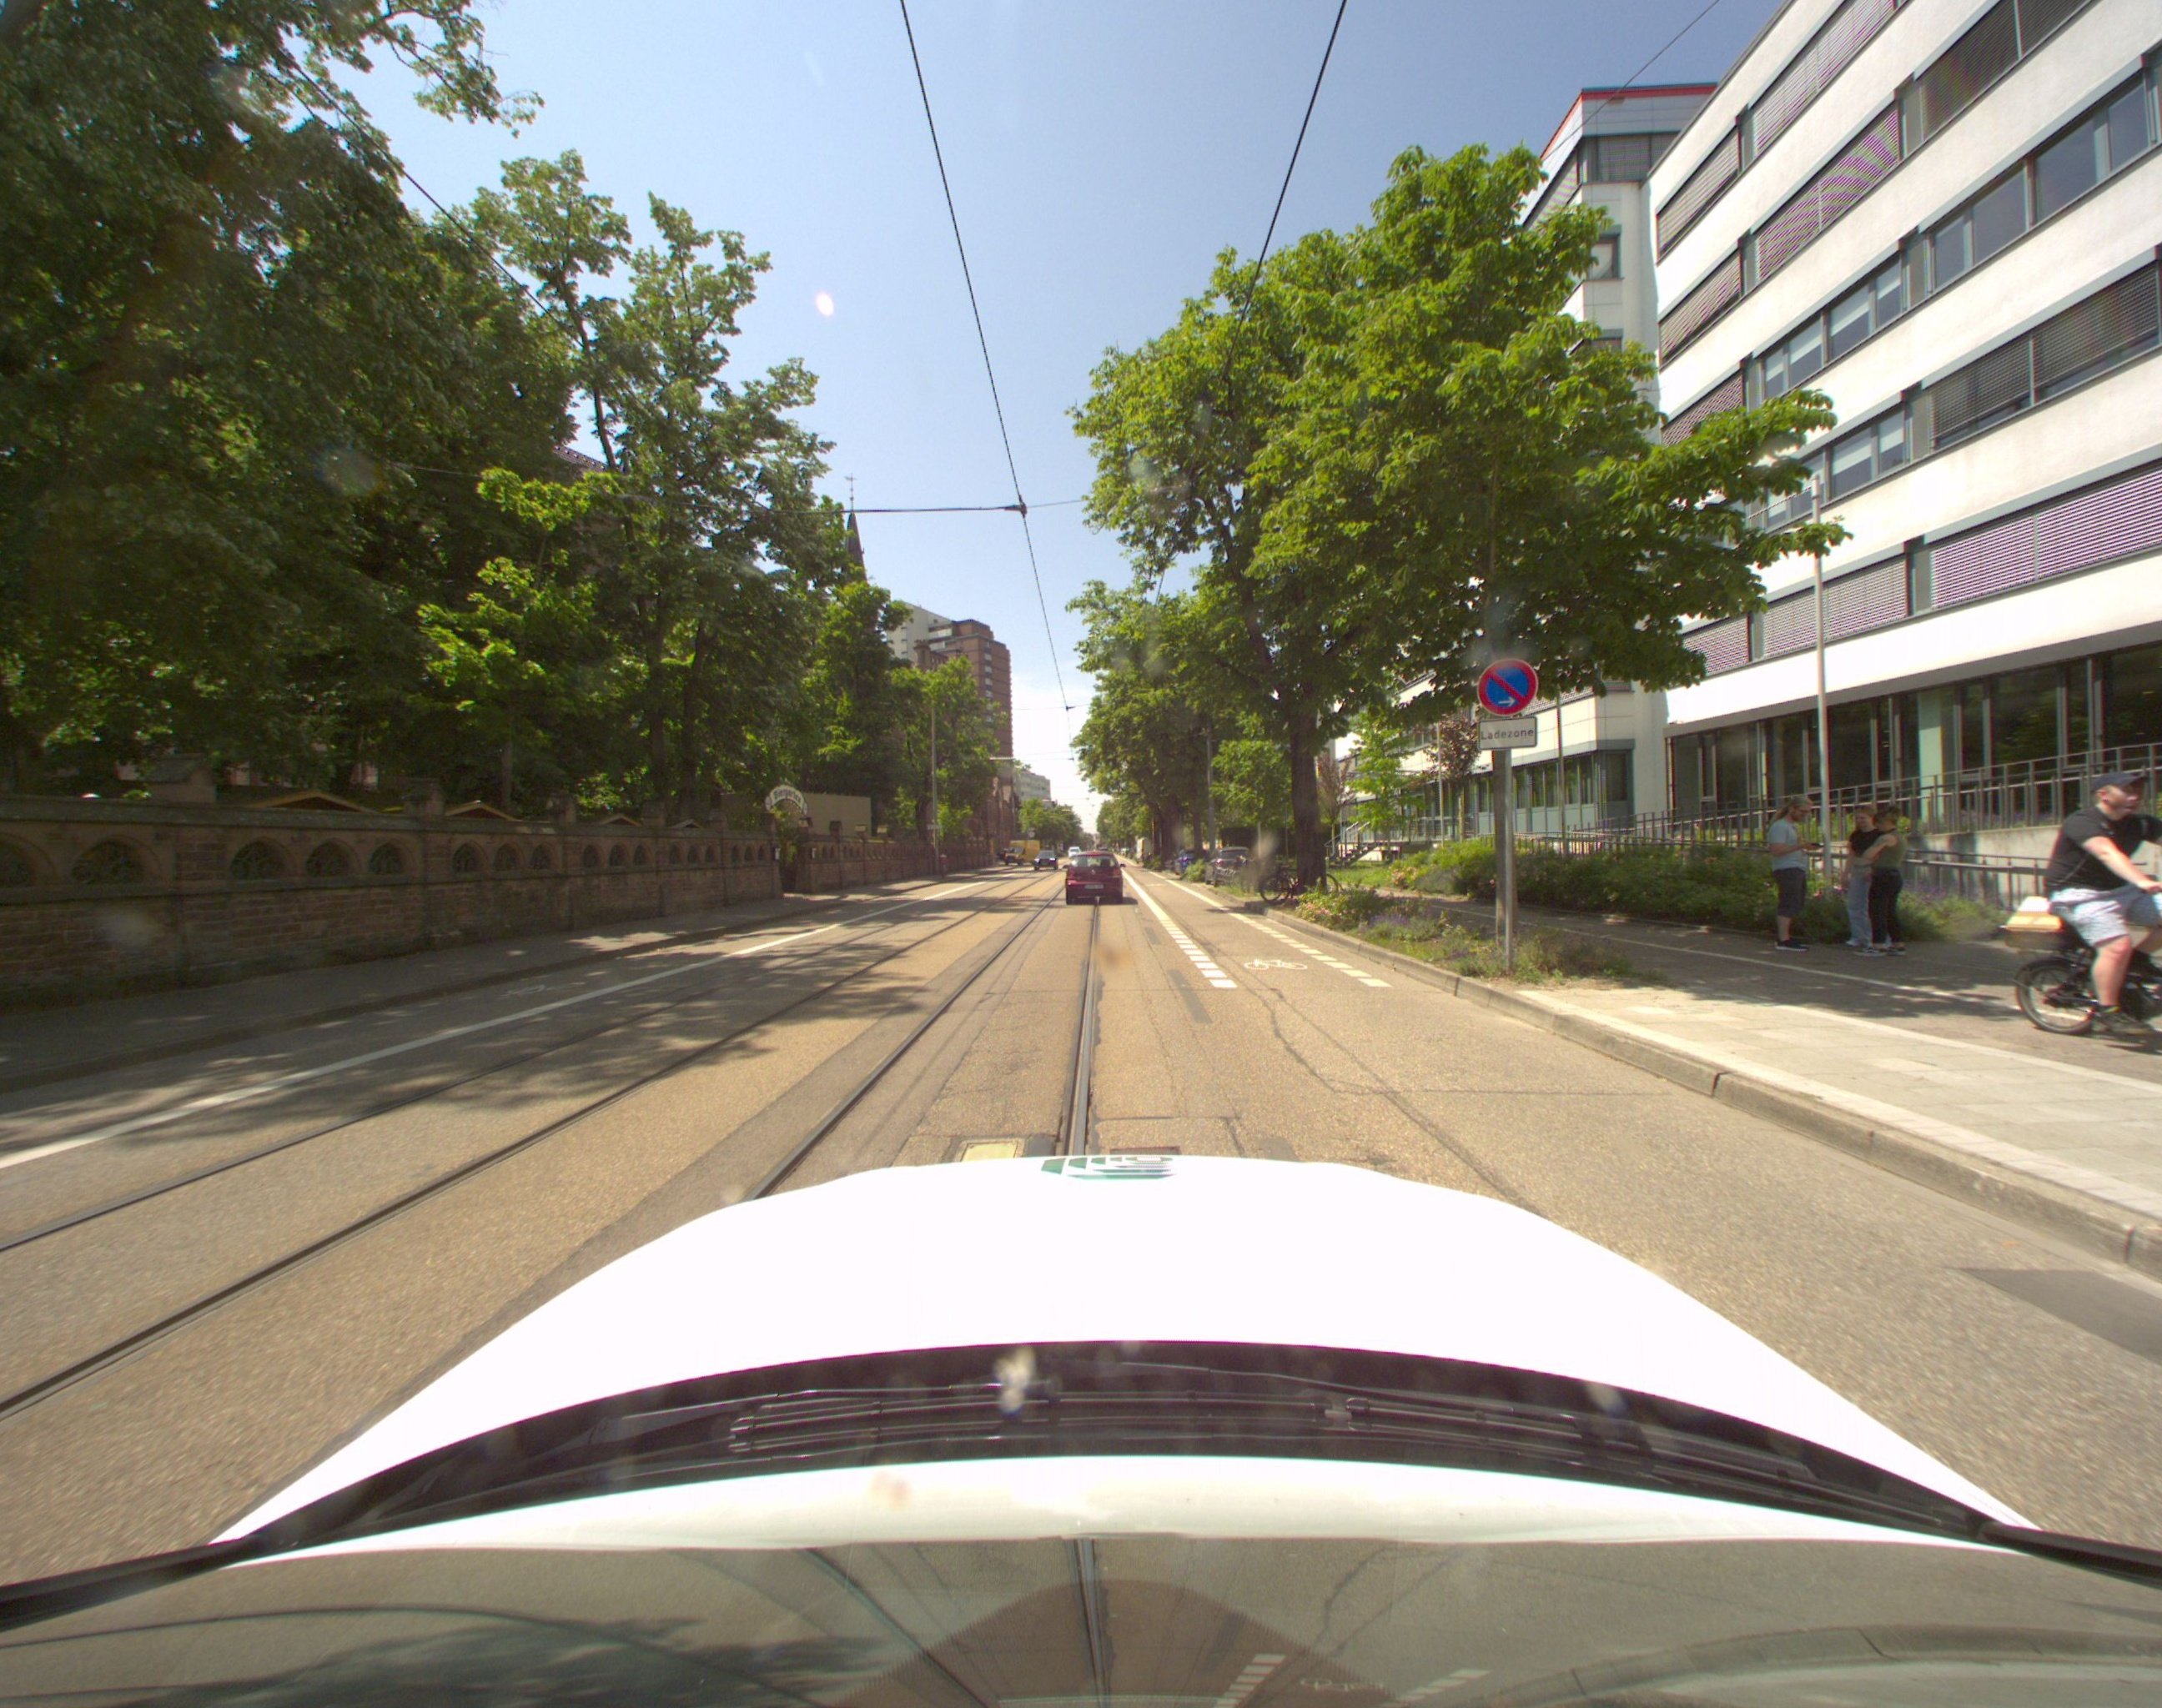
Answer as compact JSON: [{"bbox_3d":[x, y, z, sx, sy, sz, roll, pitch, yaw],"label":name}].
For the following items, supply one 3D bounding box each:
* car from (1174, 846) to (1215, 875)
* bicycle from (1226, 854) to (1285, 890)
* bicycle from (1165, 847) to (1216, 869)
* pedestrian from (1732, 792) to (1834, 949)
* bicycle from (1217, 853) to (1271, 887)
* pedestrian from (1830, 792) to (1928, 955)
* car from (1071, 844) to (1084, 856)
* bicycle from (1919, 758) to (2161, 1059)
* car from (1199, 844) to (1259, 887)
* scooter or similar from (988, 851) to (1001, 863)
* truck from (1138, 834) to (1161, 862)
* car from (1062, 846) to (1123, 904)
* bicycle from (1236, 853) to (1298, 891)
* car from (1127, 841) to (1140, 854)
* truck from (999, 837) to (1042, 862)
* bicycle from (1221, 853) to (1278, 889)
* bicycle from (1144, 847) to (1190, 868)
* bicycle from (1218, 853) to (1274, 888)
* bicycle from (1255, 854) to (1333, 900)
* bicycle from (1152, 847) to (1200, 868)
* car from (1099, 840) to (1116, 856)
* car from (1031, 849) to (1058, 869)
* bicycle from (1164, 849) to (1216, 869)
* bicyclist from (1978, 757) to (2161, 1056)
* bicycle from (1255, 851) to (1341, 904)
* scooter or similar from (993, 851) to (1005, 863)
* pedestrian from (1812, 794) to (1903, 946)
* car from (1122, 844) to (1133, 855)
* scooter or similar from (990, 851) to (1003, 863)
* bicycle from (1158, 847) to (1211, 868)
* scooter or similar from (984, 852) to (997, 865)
[{"bbox_3d":[6.128,0.312,44.320,1.682,1.468,3.881,-2,1,1],"label":"car"},{"bbox_3d":[5.552,0.561,25.921,1.745,1.085,0.549,-2,0,1],"label":"bicycle"},{"bbox_3d":[6.857,0.232,51.103,3.060,1.313,0.781,-1,1,-1],"label":"bicycle"},{"bbox_3d":[8.469,0.188,9.833,0.682,1.796,0.668,-4,0,-30],"label":"pedestrian"},{"bbox_3d":[5.605,0.545,28.031,1.745,1.085,0.549,-2,0,1],"label":"bicycle"},{"bbox_3d":[8.804,0.207,8.988,0.540,1.715,0.560,-3,0,-28],"label":"pedestrian"},{"bbox_3d":[-0.542,-0.601,133.270,1.986,1.854,4.683,-2,1,1],"label":"car"},{"bbox_3d":[6.775,0.308,5.340,0.686,1.785,1.813,-3,0,5],"label":"bicycle"},{"bbox_3d":[5.765,0.398,32.085,1.682,1.502,3.628,-4,0,1],"label":"car"},{"bbox_3d":[-8.310,0.270,78.420,1.092,1.155,0.524,-1,1,-20],"label":"scooter or similar"},{"bbox_3d":[6.799,-0.615,81.639,1.986,2.661,4.877,-1,1,1],"label":"truck"},{"bbox_3d":[0.345,0.552,24.007,1.613,1.486,4.001,-2,1,1],"label":"car"},{"bbox_3d":[5.655,0.554,24.856,1.745,1.085,0.549,-2,0,1],"label":"bicycle"},{"bbox_3d":[7.249,-0.905,113.228,1.668,1.656,4.001,-1,1,1],"label":"car"},{"bbox_3d":[-6.848,-0.559,93.826,2.351,2.787,7.352,-2,1,17],"label":"truck"},{"bbox_3d":[5.541,0.552,26.773,1.745,1.085,0.549,-2,0,1],"label":"bicycle"},{"bbox_3d":[5.776,0.238,54.770,3.060,1.313,0.781,-1,1,-1],"label":"bicycle"},{"bbox_3d":[5.546,0.554,27.383,1.745,1.085,0.549,-2,0,1],"label":"bicycle"},{"bbox_3d":[5.498,0.590,21.072,1.817,1.085,0.719,-2,-1,4],"label":"bicycle"},{"bbox_3d":[6.241,0.207,53.793,3.060,1.313,0.781,-1,1,-1],"label":"bicycle"},{"bbox_3d":[3.370,-0.793,104.906,1.987,2.013,3.999,-1,1,-1],"label":"car"},{"bbox_3d":[-2.889,0.362,64.962,1.764,1.515,4.002,-2,1,1],"label":"car"},{"bbox_3d":[6.676,0.299,49.779,3.060,1.154,0.781,-1,1,-1],"label":"bicycle"},{"bbox_3d":[6.784,0.301,5.357,0.693,1.799,0.889,-3,0,4],"label":"bicyclist"},{"bbox_3d":[5.267,0.551,19.830,1.877,1.182,0.694,-3,0,1],"label":"bicycle"},{"bbox_3d":[-8.068,0.262,79.802,1.092,1.155,0.524,-1,1,-20],"label":"scooter or similar"},{"bbox_3d":[9.159,0.176,9.609,0.540,1.715,0.560,-3,0,-28],"label":"pedestrian"},{"bbox_3d":[7.467,-0.701,130.323,1.668,1.656,4.001,-1,1,1],"label":"car"},{"bbox_3d":[-8.214,0.313,79.103,1.092,1.155,0.524,-1,1,-20],"label":"scooter or similar"},{"bbox_3d":[6.709,0.223,52.924,3.357,1.313,0.781,-1,1,-1],"label":"bicycle"},{"bbox_3d":[-8.437,0.384,75.804,1.092,1.155,0.524,-1,1,-20],"label":"scooter or similar"}]
